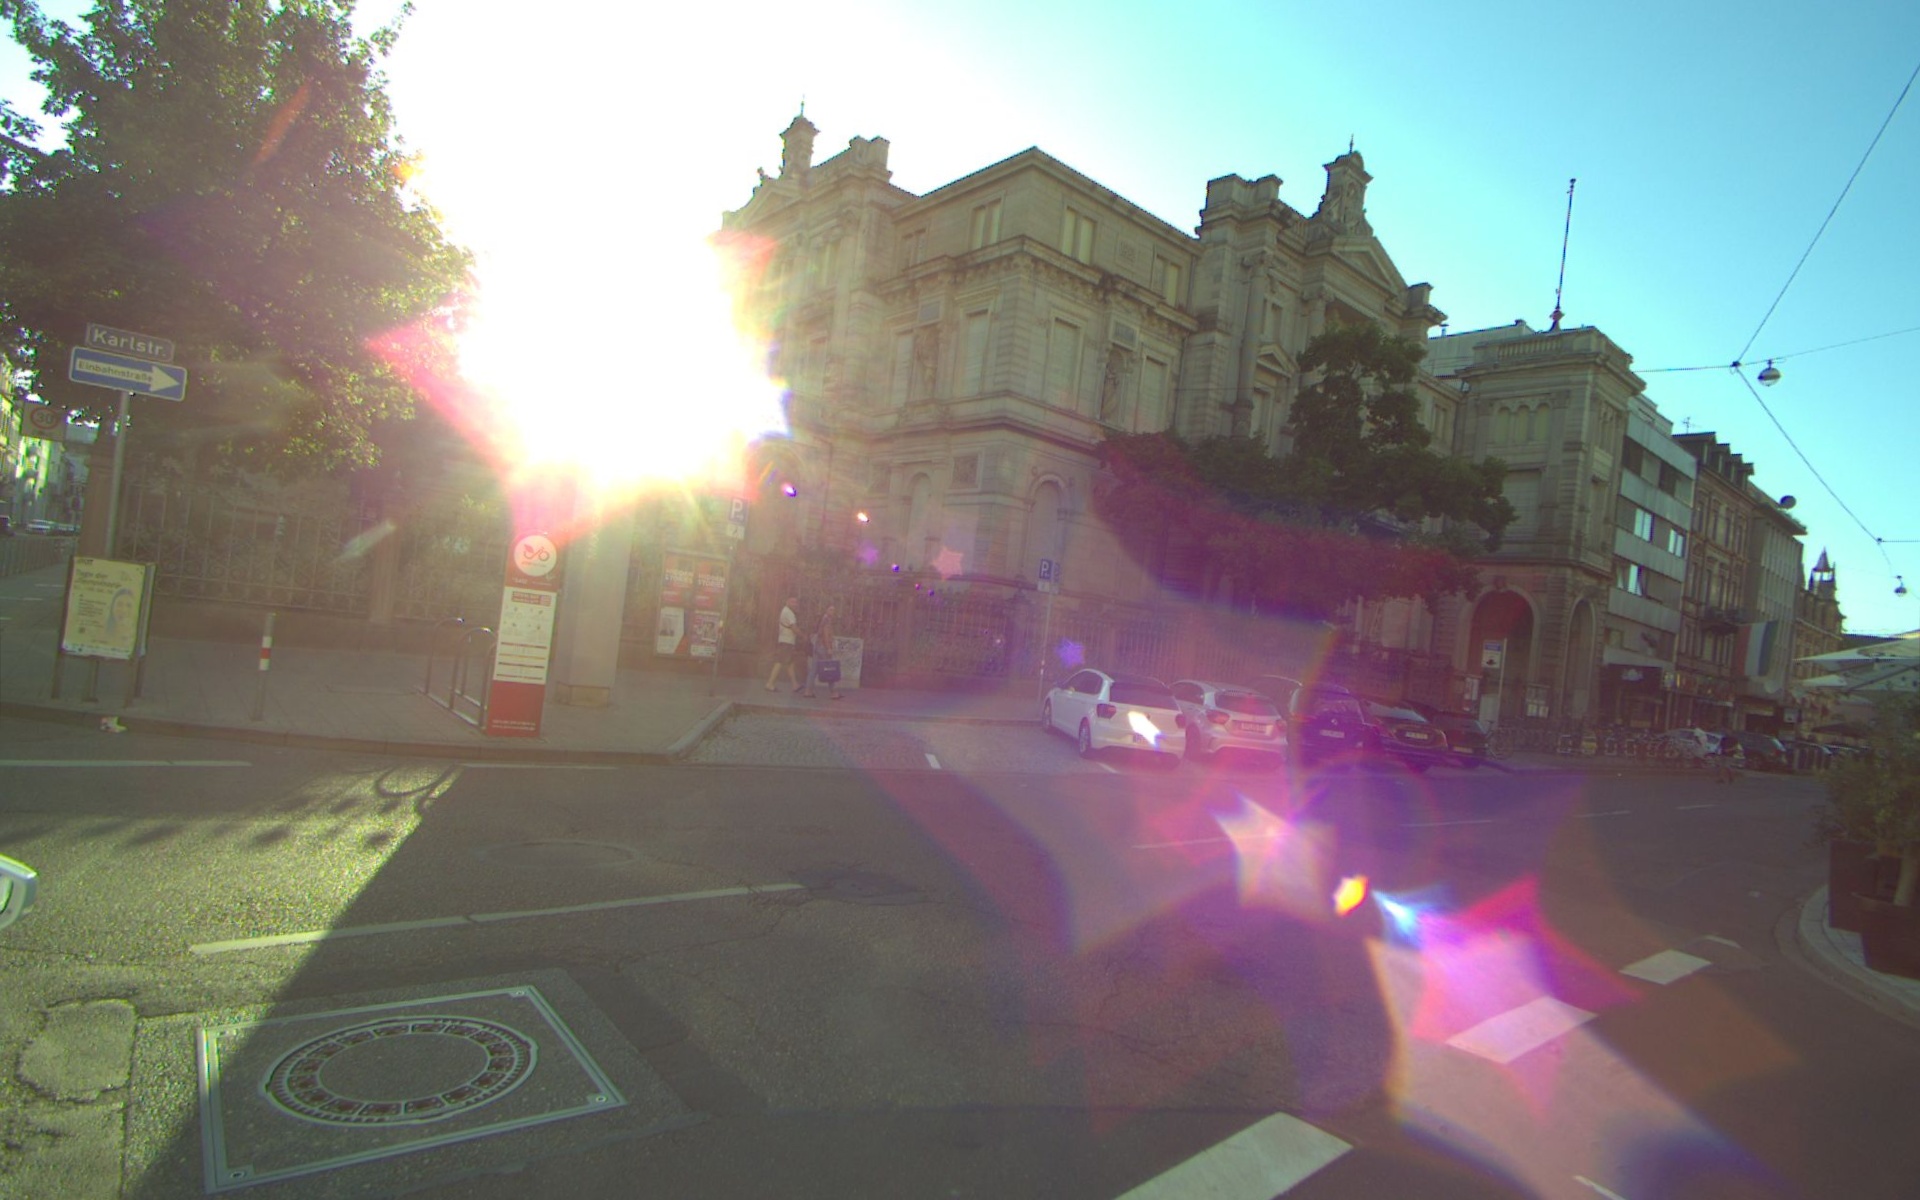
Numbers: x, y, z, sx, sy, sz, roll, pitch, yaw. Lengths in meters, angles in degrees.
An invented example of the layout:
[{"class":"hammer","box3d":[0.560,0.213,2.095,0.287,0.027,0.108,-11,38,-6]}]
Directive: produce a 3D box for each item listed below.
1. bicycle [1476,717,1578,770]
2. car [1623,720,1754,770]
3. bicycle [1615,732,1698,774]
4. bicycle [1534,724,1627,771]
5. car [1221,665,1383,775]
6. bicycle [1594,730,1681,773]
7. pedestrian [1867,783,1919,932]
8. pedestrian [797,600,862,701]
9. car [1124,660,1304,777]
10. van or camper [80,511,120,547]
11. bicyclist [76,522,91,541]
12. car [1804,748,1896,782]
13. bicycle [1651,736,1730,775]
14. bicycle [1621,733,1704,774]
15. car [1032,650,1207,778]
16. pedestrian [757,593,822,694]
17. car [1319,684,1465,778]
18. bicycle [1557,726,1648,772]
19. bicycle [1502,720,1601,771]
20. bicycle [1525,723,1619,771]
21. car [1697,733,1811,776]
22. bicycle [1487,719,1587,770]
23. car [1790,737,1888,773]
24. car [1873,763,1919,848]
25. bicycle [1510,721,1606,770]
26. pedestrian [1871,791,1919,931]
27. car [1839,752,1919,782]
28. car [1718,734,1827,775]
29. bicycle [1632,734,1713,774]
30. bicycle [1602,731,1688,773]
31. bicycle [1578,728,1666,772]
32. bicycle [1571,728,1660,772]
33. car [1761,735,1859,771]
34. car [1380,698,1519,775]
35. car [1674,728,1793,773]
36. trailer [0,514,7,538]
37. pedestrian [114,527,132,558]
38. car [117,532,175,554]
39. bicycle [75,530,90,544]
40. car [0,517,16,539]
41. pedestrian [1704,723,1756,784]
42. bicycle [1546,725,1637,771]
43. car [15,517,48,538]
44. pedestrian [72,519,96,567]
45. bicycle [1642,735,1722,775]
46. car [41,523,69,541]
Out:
[{"class":"bicycle","box3d":[15.693,3.970,27.897,0.712,1.103,2.275,8,-3,-43]},{"class":"car","box3d":[30.002,5.965,41.517,1.742,1.429,3.959,8,-3,-38]},{"class":"bicycle","box3d":[24.630,5.405,35.607,0.712,1.103,2.275,8,-3,-43]},{"class":"bicycle","box3d":[19.166,4.538,31.119,0.712,1.103,2.275,8,-3,-43]},{"class":"car","box3d":[7.176,2.474,21.550,1.724,1.741,3.998,7,-1,-3]},{"class":"bicycle","box3d":[23.009,5.145,34.214,0.712,1.103,2.275,8,-3,-43]},{"class":"pedestrian","box3d":[8.957,2.385,9.208,0.589,1.260,0.687,7,-1,11]},{"class":"pedestrian","box3d":[-2.317,0.904,17.896,0.632,1.690,0.703,8,0,37]},{"class":"car","box3d":[4.819,2.221,19.716,1.726,1.545,3.990,7,1,-11]},{"class":"van or camper","box3d":[-70.093,-5.776,82.005,2.245,2.641,5.059,2,1,-39]},{"class":"bicyclist","box3d":[-92.440,-7.192,106.047,0.985,1.890,0.701,8,-2,-39]},{"class":"car","box3d":[54.845,10.144,62.035,1.742,1.429,3.959,8,-3,-38]},{"class":"bicycle","box3d":[27.666,5.888,38.127,0.712,1.103,2.275,8,-3,-43]},{"class":"bicycle","box3d":[25.248,5.507,36.206,0.712,1.103,2.275,8,-3,-43]},{"class":"car","box3d":[2.707,1.938,18.053,1.726,1.466,3.898,7,2,-11]},{"class":"pedestrian","box3d":[-3.055,0.782,18.026,0.632,1.690,0.703,8,0,37]},{"class":"car","box3d":[9.663,2.883,22.847,1.722,1.626,4.005,6,-2,5]},{"class":"bicycle","box3d":[20.581,4.763,32.279,0.712,1.103,2.275,8,-3,-43]},{"class":"bicycle","box3d":[17.137,4.204,29.193,0.712,1.103,2.275,8,-3,-43]},{"class":"bicycle","box3d":[18.501,4.427,30.458,0.712,1.103,2.275,8,-3,-43]},{"class":"car","box3d":[38.094,7.405,48.348,1.742,1.429,3.959,8,-3,-38]},{"class":"bicycle","box3d":[16.289,4.068,28.469,0.712,1.103,2.275,8,-3,-43]},{"class":"car","box3d":[52.089,9.185,59.701,1.731,1.429,3.984,7,-3,-20]},{"class":"car","box3d":[19.477,4.018,18.144,3.992,1.429,1.757,6,-2,18]},{"class":"bicycle","box3d":[17.715,4.305,29.855,0.712,1.103,2.275,8,-3,-43]},{"class":"pedestrian","box3d":[9.582,2.589,9.865,0.589,1.260,0.687,7,-1,11]},{"class":"car","box3d":[64.226,11.656,70.243,1.742,1.429,3.959,8,-3,-38]},{"class":"car","box3d":[41.050,7.779,50.878,1.742,1.429,3.959,8,-3,-38]},{"class":"bicycle","box3d":[26.140,5.649,36.948,0.712,1.103,2.275,8,-3,-43]},{"class":"bicycle","box3d":[23.664,5.251,34.800,0.712,1.103,2.275,8,-3,-43]},{"class":"bicycle","box3d":[22.056,5.000,33.552,0.712,1.103,2.275,8,-3,-43]},{"class":"bicycle","box3d":[21.446,4.899,32.966,0.712,1.103,2.275,8,-3,-43]},{"class":"car","box3d":[49.514,8.875,58.705,1.731,1.429,3.984,7,-3,-20]},{"class":"car","box3d":[12.403,3.421,25.782,1.722,1.429,4.005,6,-3,5]},{"class":"car","box3d":[35.579,6.910,46.354,1.742,1.429,3.959,8,-3,-38]},{"class":"trailer","box3d":[-66.517,-5.185,68.512,1.986,1.575,3.956,8,-3,-40]},{"class":"pedestrian","box3d":[-47.535,-3.267,57.139,0.658,1.687,0.617,5,1,-39]},{"class":"car","box3d":[-74.718,-5.211,92.396,3.971,1.436,1.639,9,-3,-39]},{"class":"bicycle","box3d":[-92.579,-6.623,106.123,0.971,1.295,2.726,8,-3,-39]},{"class":"car","box3d":[-69.235,-5.280,72.155,1.876,1.470,3.955,8,-2,-40]},{"class":"pedestrian","box3d":[24.514,4.873,32.031,0.994,1.770,0.964,7,-1,-37]},{"class":"bicycle","box3d":[19.872,4.650,31.697,0.712,1.103,2.275,8,-3,-43]},{"class":"car","box3d":[-90.896,-7.090,98.537,1.985,1.703,3.959,8,-3,-39]},{"class":"pedestrian","box3d":[-31.714,-2.058,36.422,0.610,1.679,0.483,6,1,44]},{"class":"bicycle","box3d":[26.879,5.764,37.493,0.712,1.103,2.275,8,-3,-43]},{"class":"car","box3d":[-104.425,-7.880,116.102,1.985,1.703,3.959,8,-3,-39]}]
